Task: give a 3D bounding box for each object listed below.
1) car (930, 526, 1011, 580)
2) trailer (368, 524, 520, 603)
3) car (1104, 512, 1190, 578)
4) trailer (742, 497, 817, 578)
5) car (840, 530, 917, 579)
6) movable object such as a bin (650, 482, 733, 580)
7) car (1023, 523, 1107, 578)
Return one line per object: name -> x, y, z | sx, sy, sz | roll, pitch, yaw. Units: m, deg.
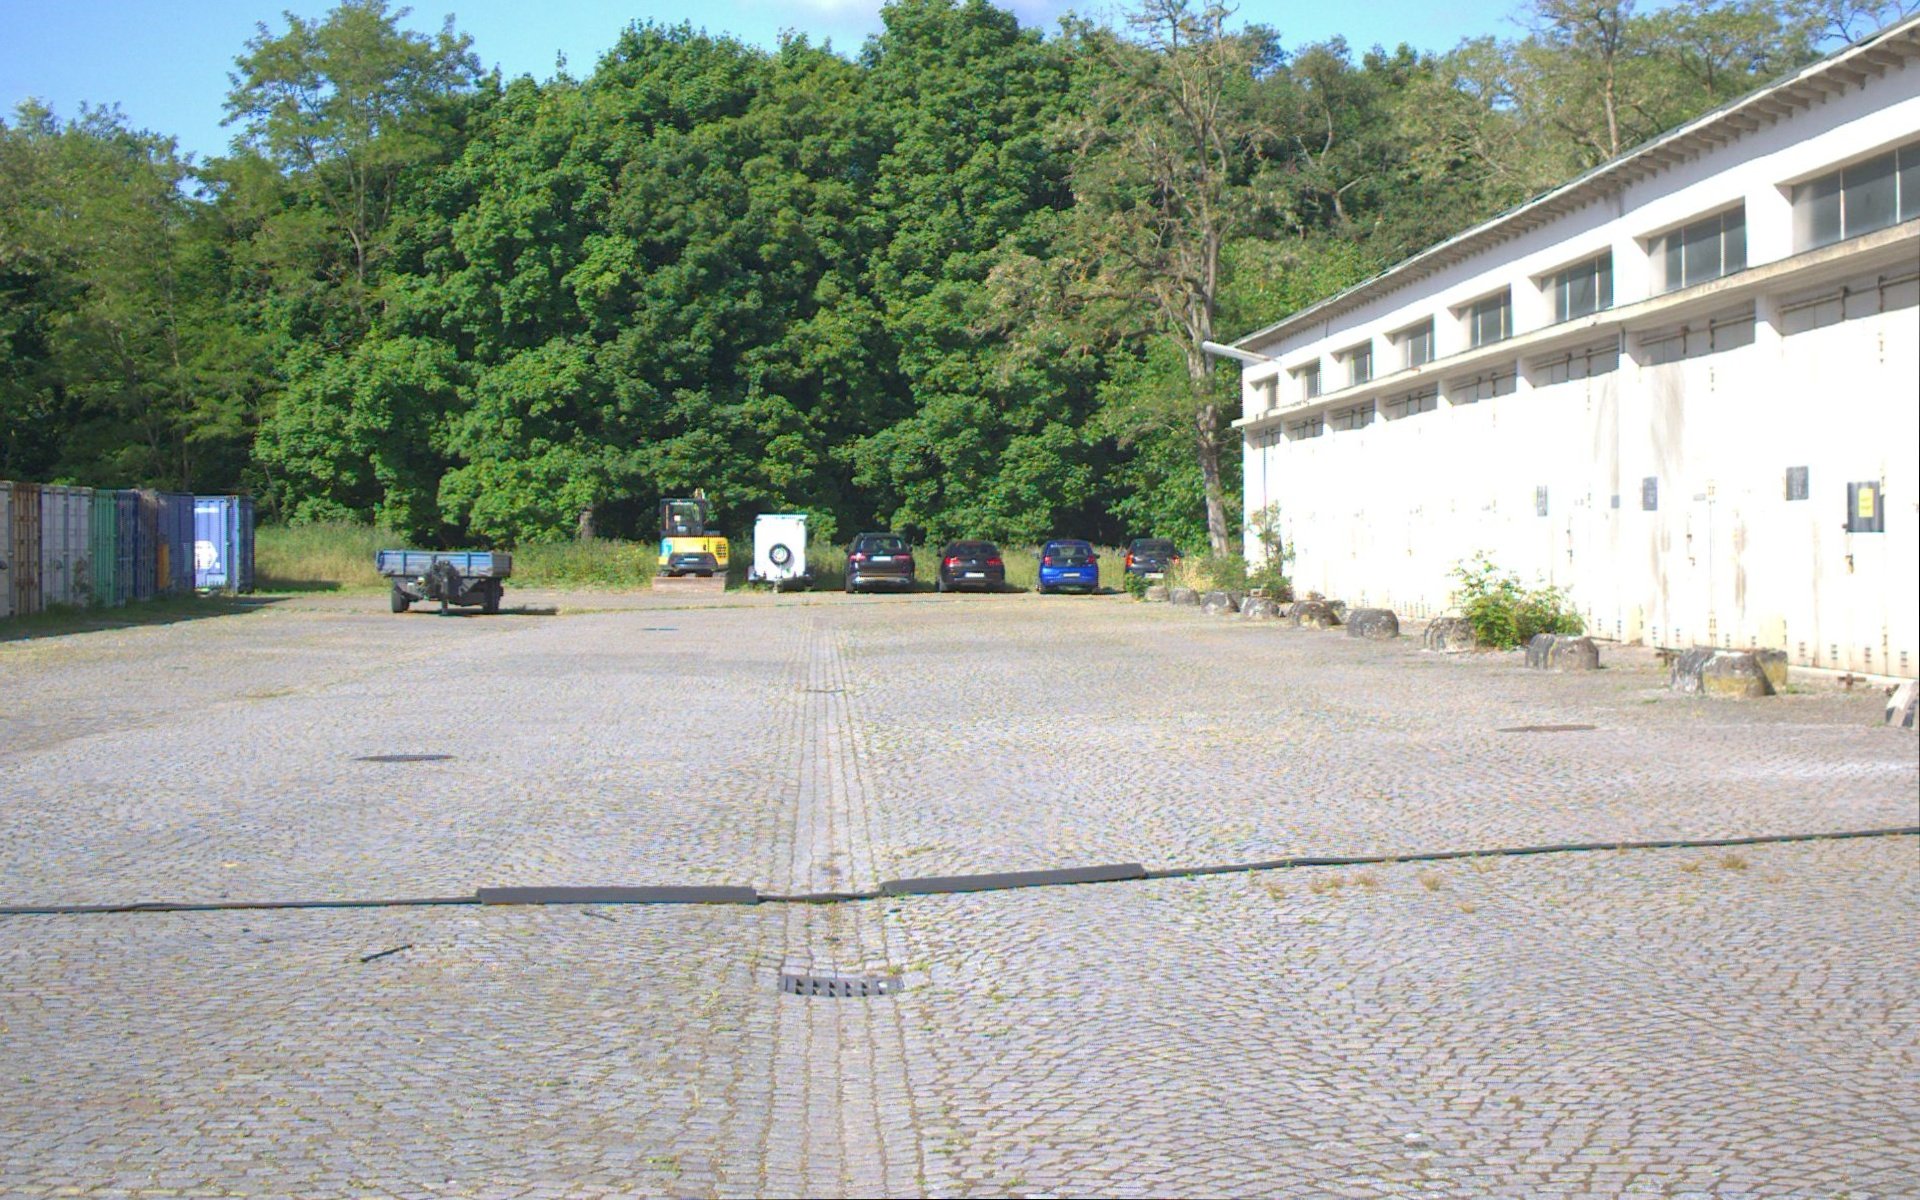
car -> 0.268, -1.311, 94.137 | 1.993, 1.419, 4.001 | -1, 1, -3
trailer -> -11.344, -0.833, 76.039 | 2.791, 1.640, 5.621 | -1, 1, -3
car -> 5.167, -1.545, 95.535 | 1.993, 1.766, 4.001 | -1, 1, -3
trailer -> -4.967, -1.727, 94.812 | 1.993, 2.155, 4.432 | -1, 1, -3
car -> -2.243, -1.254, 93.679 | 1.993, 1.254, 4.001 | -1, 1, -3
movable object such as a bin -> -7.463, -1.922, 95.481 | 2.231, 2.648, 4.001 | -1, 1, -5
car -> 2.859, -1.376, 94.214 | 1.993, 1.461, 4.001 | -1, 1, -3
